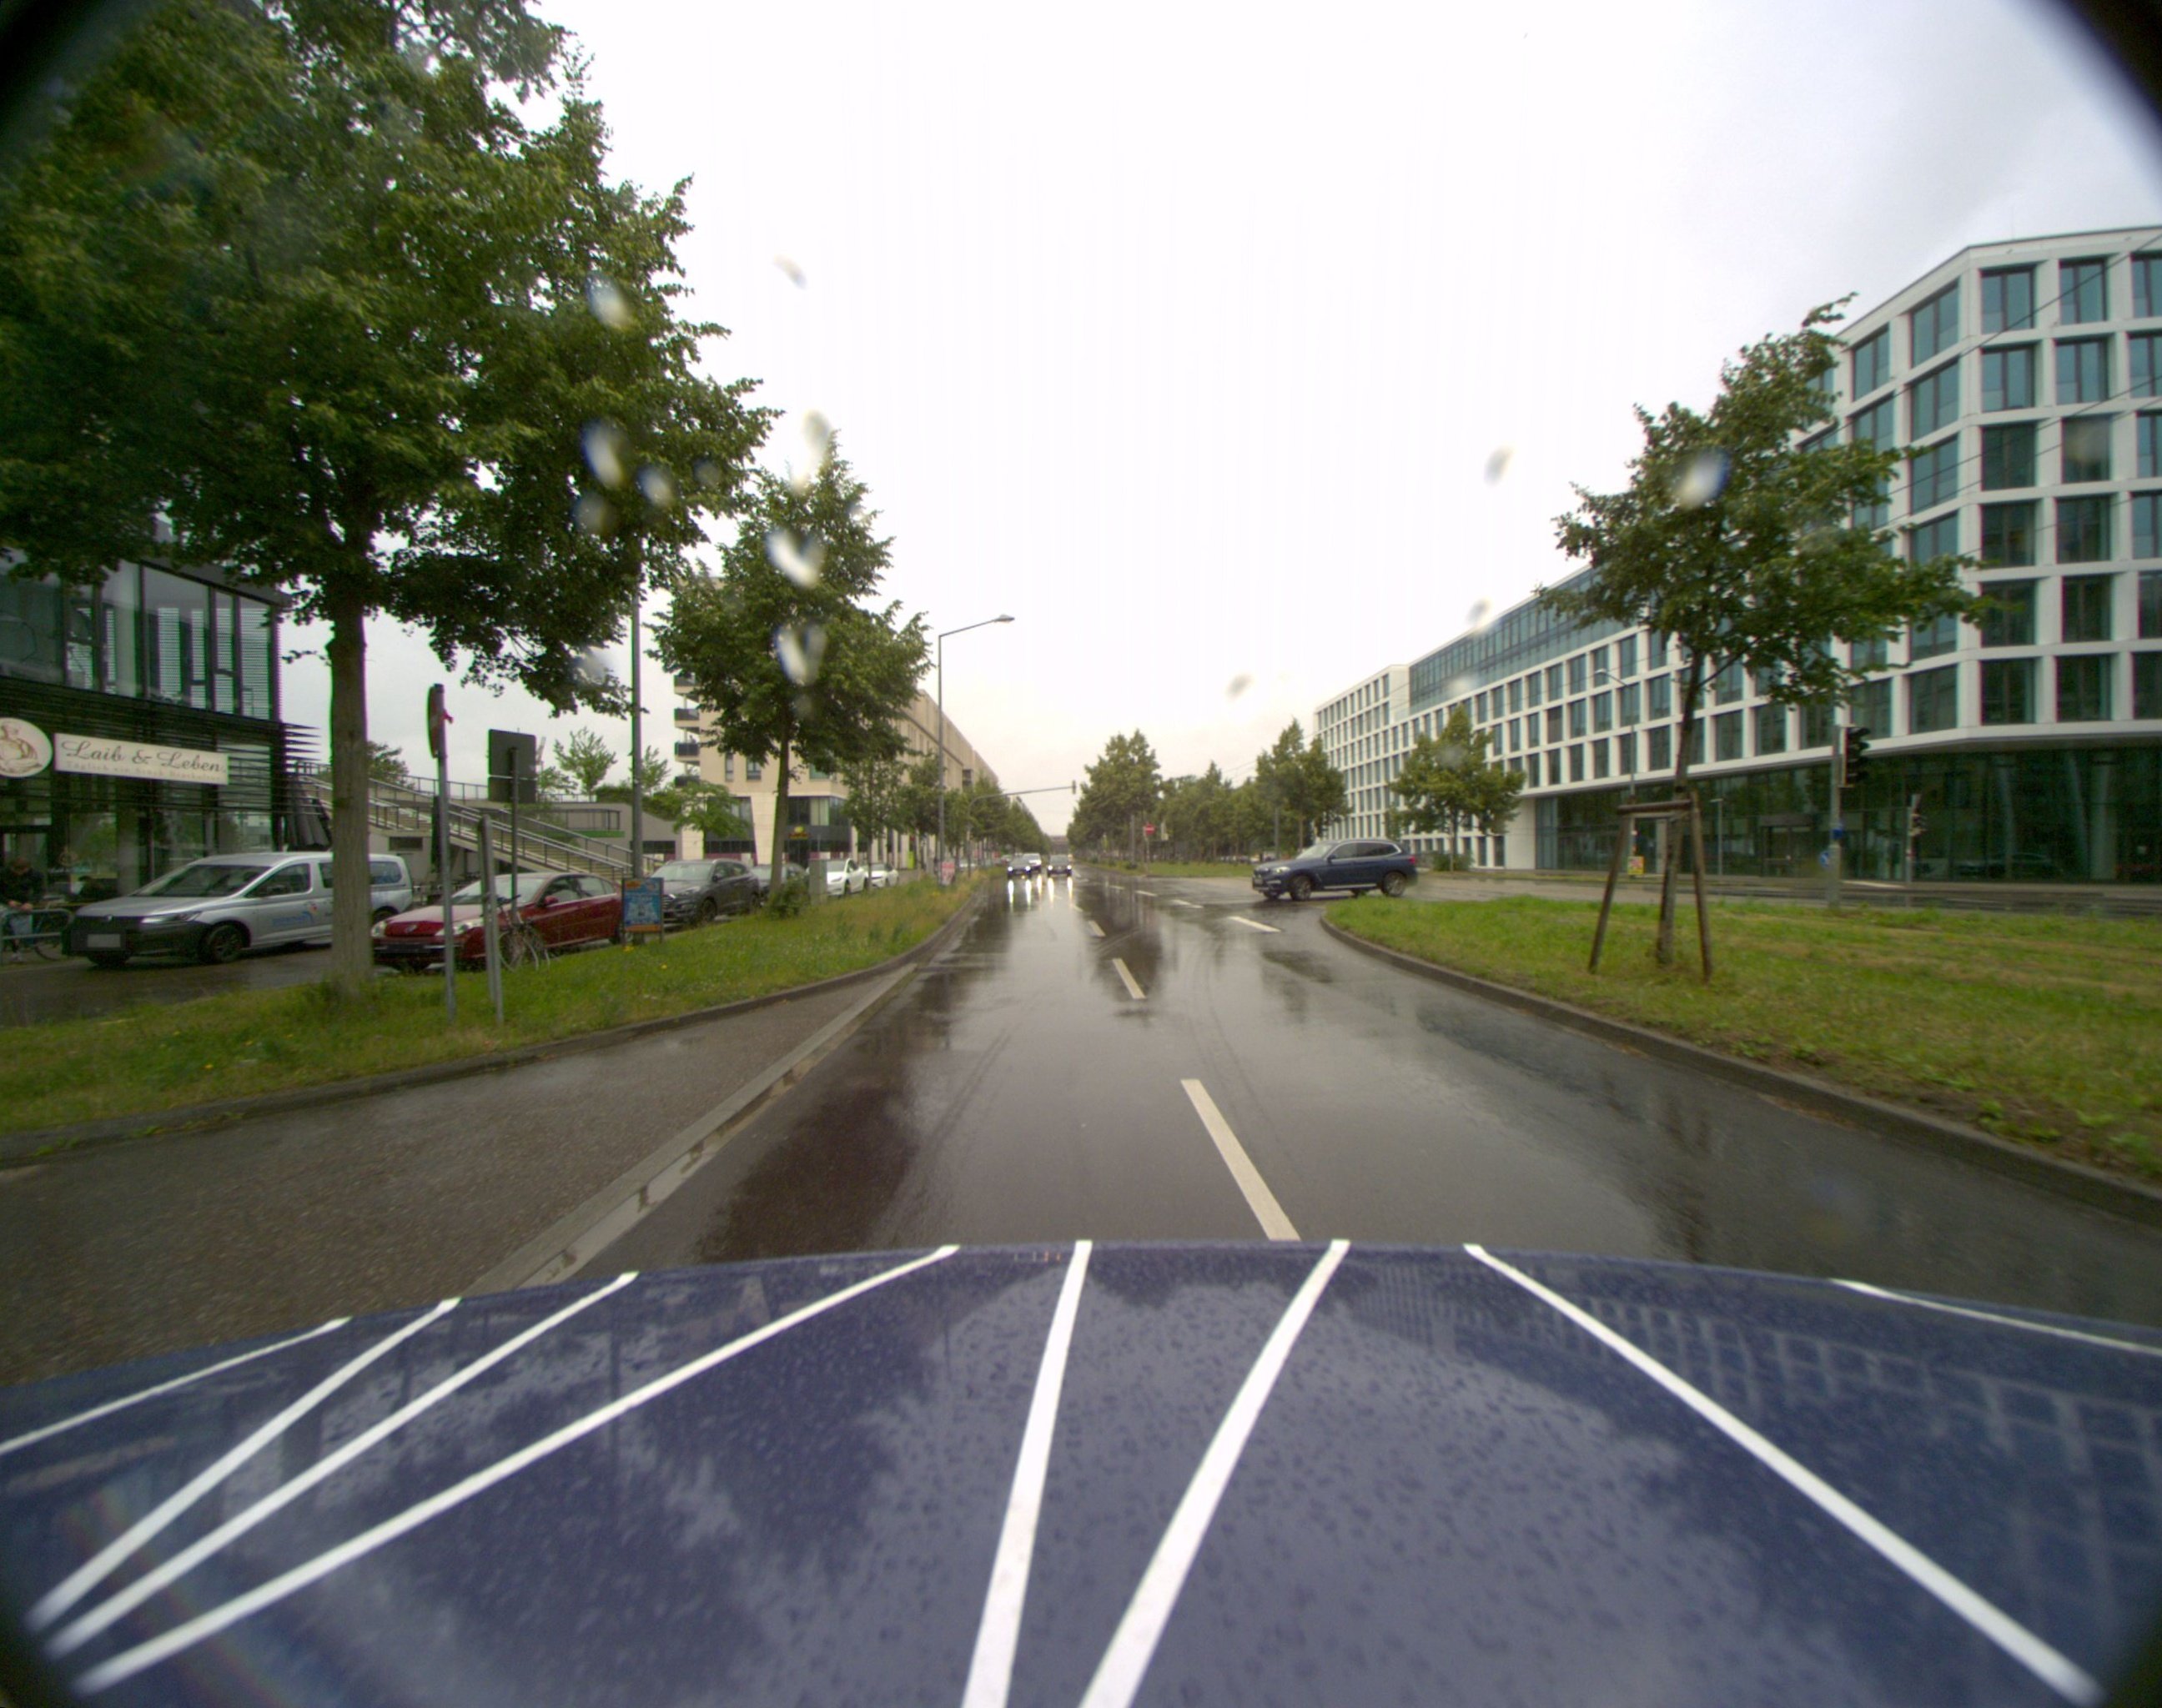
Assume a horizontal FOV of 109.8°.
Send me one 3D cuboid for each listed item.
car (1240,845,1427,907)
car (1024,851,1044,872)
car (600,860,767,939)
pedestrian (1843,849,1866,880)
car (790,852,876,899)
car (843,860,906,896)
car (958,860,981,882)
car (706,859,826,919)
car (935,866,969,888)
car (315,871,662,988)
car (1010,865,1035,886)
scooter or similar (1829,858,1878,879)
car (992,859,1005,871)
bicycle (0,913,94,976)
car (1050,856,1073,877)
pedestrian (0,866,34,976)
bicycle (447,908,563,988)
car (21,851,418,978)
[{"bbox_3d":[7.158,0.589,21.734,4.716,1.651,1.927,0,0,-11],"label":"car"},{"bbox_3d":[-4.658,0.755,75.314,1.757,1.914,4.001,-1,-2,-1],"label":"car"},{"bbox_3d":[-9.526,1.053,18.649,1.999,1.697,4.218,-1,-2,-2],"label":"car"},{"bbox_3d":[41.871,0.564,41.133,0.634,1.634,0.546,0,2,0],"label":"pedestrian"},{"bbox_3d":[-9.706,0.852,30.180,1.999,1.697,4.839,-1,-2,-2],"label":"car"},{"bbox_3d":[-10.226,1.210,38.033,1.999,1.697,4.839,-1,-2,-2],"label":"car"},{"bbox_3d":[-10.505,1.602,71.821,1.916,2.001,3.999,-1,-2,-6],"label":"car"},{"bbox_3d":[-9.871,1.088,24.273,1.999,1.697,4.724,-1,-2,-2],"label":"car"},{"bbox_3d":[-10.201,1.831,60.517,1.999,1.697,4.839,-1,-2,-2],"label":"car"},{"bbox_3d":[-9.404,1.084,12.792,1.999,1.446,4.958,-1,0,-1],"label":"car"},{"bbox_3d":[-4.337,1.610,56.594,1.687,1.520,3.969,-1,-2,-3],"label":"car"},{"bbox_3d":[41.872,0.794,41.203,2.161,1.145,0.550,-1,-1,-3],"label":"scooter or similar"},{"bbox_3d":[-11.165,1.526,102.551,1.643,1.578,3.929,-1,-2,-5],"label":"car"},{"bbox_3d":[-16.443,1.405,11.901,0.438,0.892,1.231,-1,-2,-6],"label":"bicycle"},{"bbox_3d":[-1.493,0.973,56.851,1.657,1.520,3.776,-1,-2,-3],"label":"car"},{"bbox_3d":[-16.970,1.030,11.736,0.627,1.695,0.657,-1,-1,-7],"label":"pedestrian"},{"bbox_3d":[-7.430,1.177,9.900,0.575,0.856,1.912,0,-2,-17],"label":"bicycle"},{"bbox_3d":[-14.743,0.905,13.566,1.899,1.855,4.722,-1,0,-4],"label":"car"}]
